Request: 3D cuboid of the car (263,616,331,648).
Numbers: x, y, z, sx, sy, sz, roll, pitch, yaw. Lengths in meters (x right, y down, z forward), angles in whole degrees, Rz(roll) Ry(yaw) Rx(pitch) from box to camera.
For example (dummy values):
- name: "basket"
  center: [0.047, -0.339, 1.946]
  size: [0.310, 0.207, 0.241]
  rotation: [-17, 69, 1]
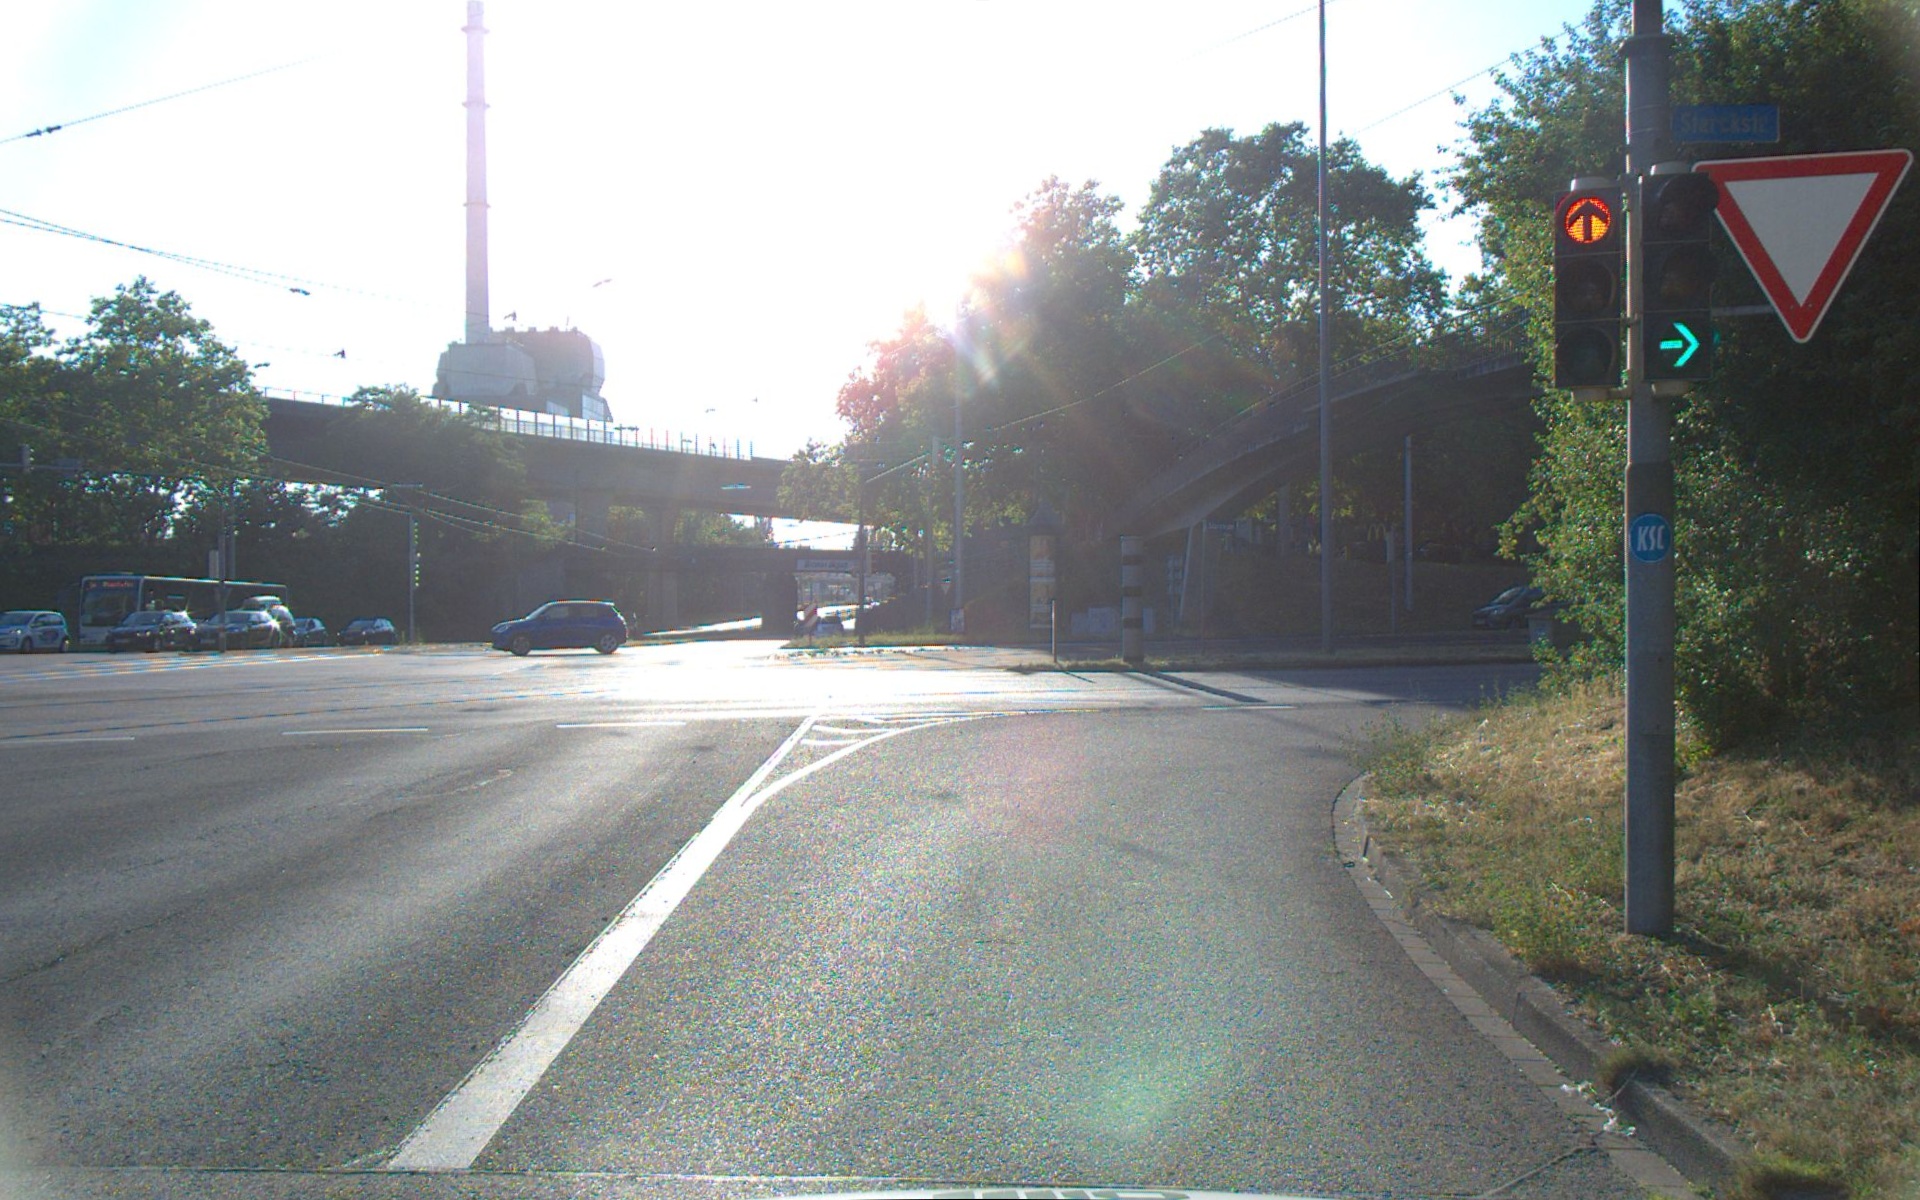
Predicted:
- name: "car"
  center: [-32.003, 1.542, 79.888]
  size: [1.665, 1.467, 4.000]
  rotation: [0, 0, 0]

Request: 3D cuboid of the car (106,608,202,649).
- name: "car"
  center: [-28.390, 0.987, 58.385]
  size: [1.572, 1.378, 3.998]
  rotation: [0, 0, -3]

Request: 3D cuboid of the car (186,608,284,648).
- name: "car"
  center: [-25.733, 0.978, 58.862]
  size: [1.676, 1.378, 4.094]
  rotation: [0, 0, 0]

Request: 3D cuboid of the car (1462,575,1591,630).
- name: "car"
  center: [20.186, 0.086, 58.987]
  size: [4.065, 1.900, 1.849]
  rotation: [0, 0, -16]

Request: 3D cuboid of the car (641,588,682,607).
- name: "car"
  center: [-29.788, -0.224, 165.083]
  size: [1.957, 1.802, 3.991]
  rotation: [1, -1, 31]

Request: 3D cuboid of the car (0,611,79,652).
- name: "car"
  center: [-32.226, 1.062, 57.249]
  size: [1.572, 1.378, 3.732]
  rotation: [0, 0, -3]

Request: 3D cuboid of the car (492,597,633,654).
- name: "car"
  center: [-11.448, 0.730, 47.607]
  size: [3.859, 1.586, 1.991]
  rotation: [0, 0, -16]

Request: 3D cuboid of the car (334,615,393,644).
- name: "car"
  center: [-31.217, 1.544, 86.673]
  size: [1.665, 1.467, 4.000]
  rotation: [0, 0, 0]

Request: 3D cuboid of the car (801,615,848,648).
- name: "car"
  center: [-7.224, 1.676, 88.074]
  size: [1.683, 1.681, 4.200]
  rotation: [0, 0, -16]

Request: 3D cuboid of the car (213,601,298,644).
- name: "car"
  center: [-28.237, 0.894, 66.414]
  size: [1.676, 1.681, 4.094]
  rotation: [0, 0, 0]

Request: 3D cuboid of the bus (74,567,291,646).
- name: "bus"
  center: [-32.118, 0.278, 69.176]
  size: [2.764, 3.006, 12.854]
  rotation: [0, 0, 1]

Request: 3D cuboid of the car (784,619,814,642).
- name: "car"
  center: [-10.755, 2.025, 110.693]
  size: [1.657, 1.447, 4.151]
  rotation: [0, 0, -1]
